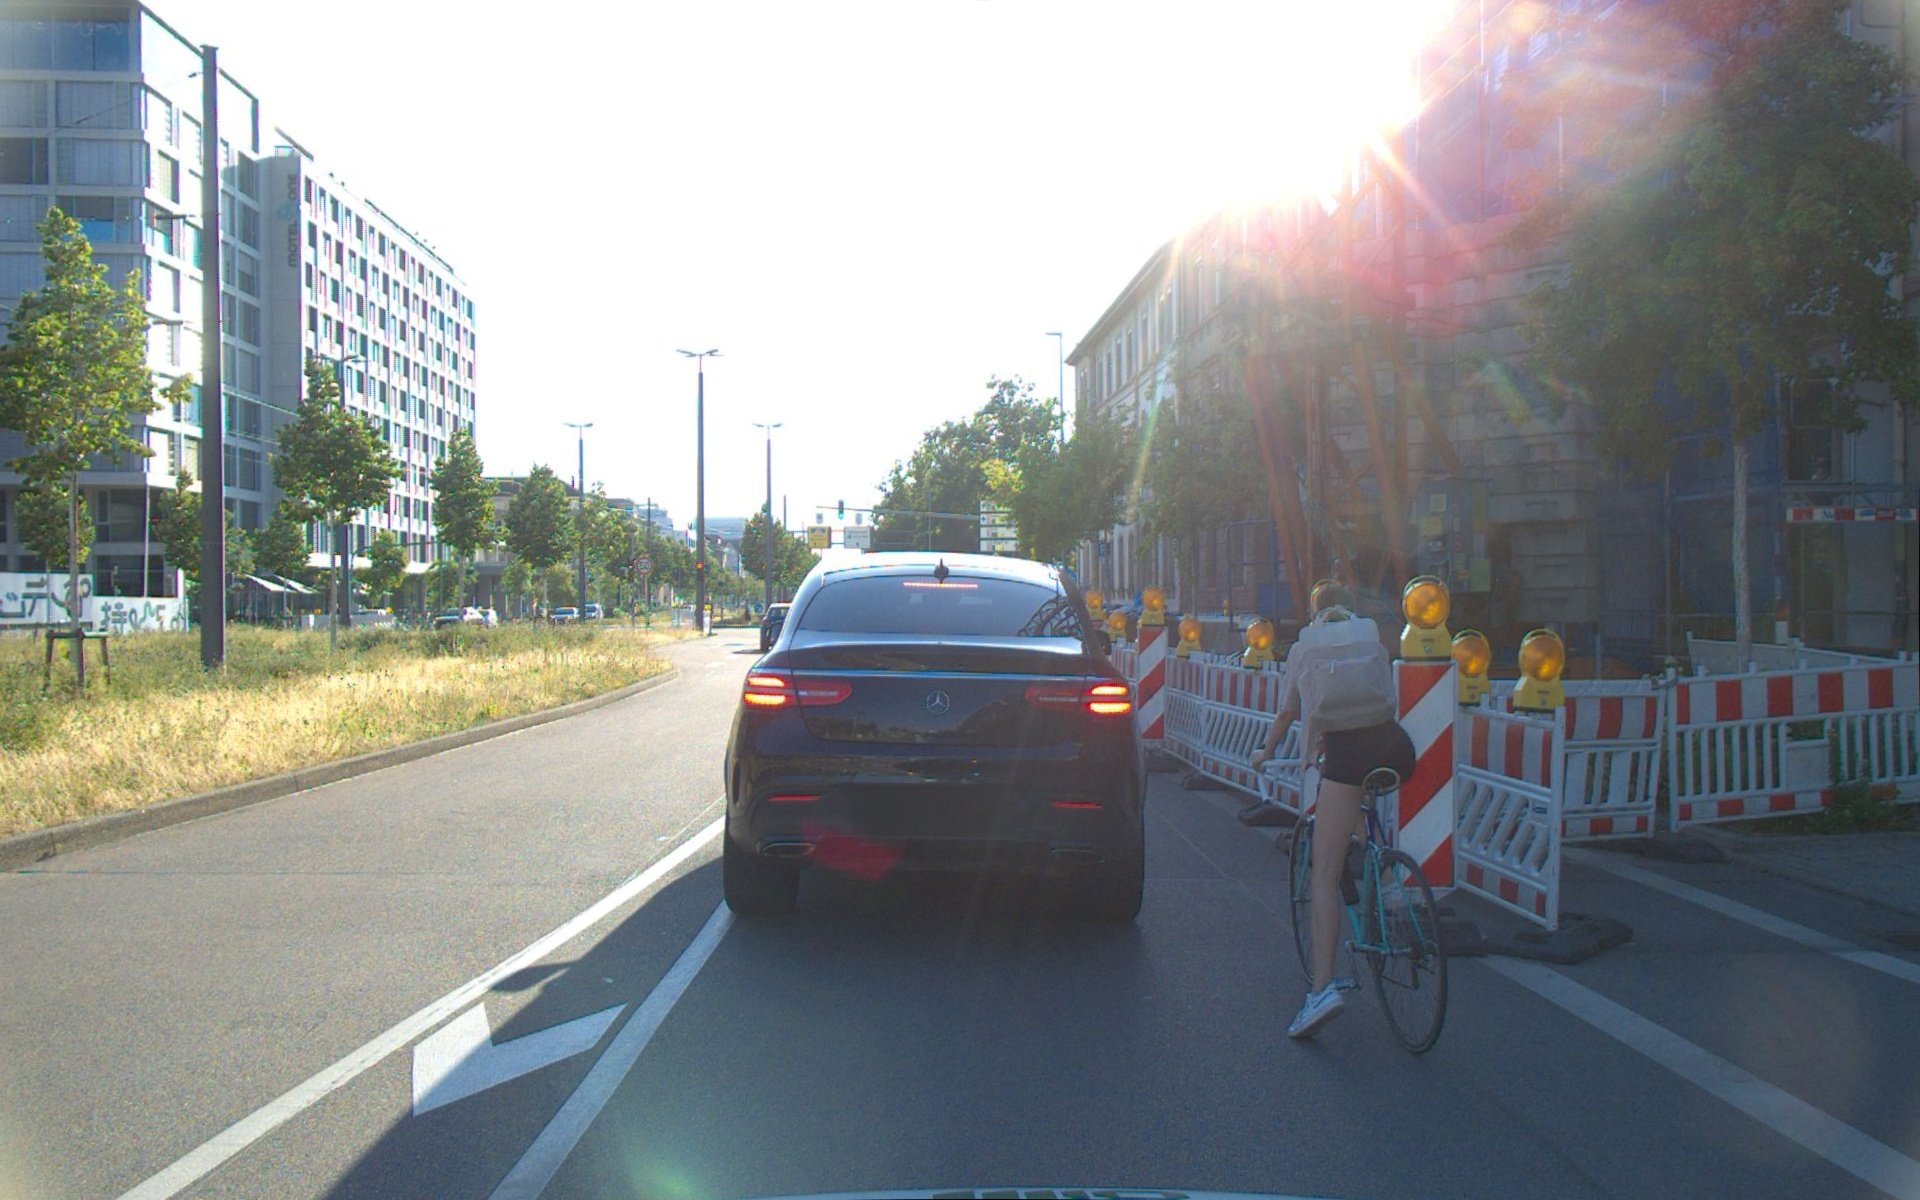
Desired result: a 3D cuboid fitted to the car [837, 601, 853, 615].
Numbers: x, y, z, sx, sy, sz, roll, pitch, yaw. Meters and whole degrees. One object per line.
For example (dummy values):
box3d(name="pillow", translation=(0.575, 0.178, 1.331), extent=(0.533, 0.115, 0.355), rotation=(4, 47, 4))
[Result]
box3d(name="car", translation=(-12.705, 0.905, 183.595), extent=(1.674, 1.467, 3.580), rotation=(1, 0, -3))

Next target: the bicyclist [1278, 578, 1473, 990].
box3d(name="bicyclist", translation=(1.496, 0.638, 6.025), extent=(0.512, 1.420, 0.614), rotation=(1, -1, -4))

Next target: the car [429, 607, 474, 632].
box3d(name="car", translation=(-29.931, 1.132, 97.441), extent=(1.674, 1.467, 3.580), rotation=(1, 0, -3))

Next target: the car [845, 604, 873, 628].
box3d(name="car", translation=(-6.221, 0.974, 102.010), extent=(1.674, 1.467, 3.580), rotation=(1, 0, -3))

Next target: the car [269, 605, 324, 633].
box3d(name="car", translation=(-36.113, 0.999, 90.121), extent=(1.674, 1.467, 3.580), rotation=(1, 0, -3))

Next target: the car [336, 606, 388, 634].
box3d(name="car", translation=(-32.366, 1.059, 89.604), extent=(1.674, 1.467, 3.580), rotation=(1, 0, -3))

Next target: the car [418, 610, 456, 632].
box3d(name="car", translation=(-36.973, 1.483, 116.972), extent=(1.674, 1.467, 3.580), rotation=(1, 0, -3))

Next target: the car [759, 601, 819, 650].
box3d(name="car", translation=(-5.323, 0.785, 51.775), extent=(1.674, 1.467, 3.580), rotation=(1, 0, -3))

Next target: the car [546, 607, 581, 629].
box3d(name="car", translation=(-27.336, 1.243, 114.182), extent=(1.674, 1.467, 3.580), rotation=(1, 0, -3))

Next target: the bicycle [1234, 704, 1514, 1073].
box3d(name="bicycle", translation=(1.467, 0.975, 6.141), extent=(0.502, 1.070, 1.724), rotation=(1, 0, -3))

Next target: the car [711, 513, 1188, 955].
box3d(name="car", translation=(-0.069, 0.567, 8.863), extent=(1.953, 1.803, 3.999), rotation=(1, 0, -1))

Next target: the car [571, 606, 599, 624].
box3d(name="car", translation=(-31.786, 1.275, 140.175), extent=(1.674, 1.467, 3.580), rotation=(1, 0, -3))

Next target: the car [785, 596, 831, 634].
box3d(name="car", translation=(-6.012, 0.591, 65.704), extent=(1.674, 1.467, 3.580), rotation=(1, 0, -3))
